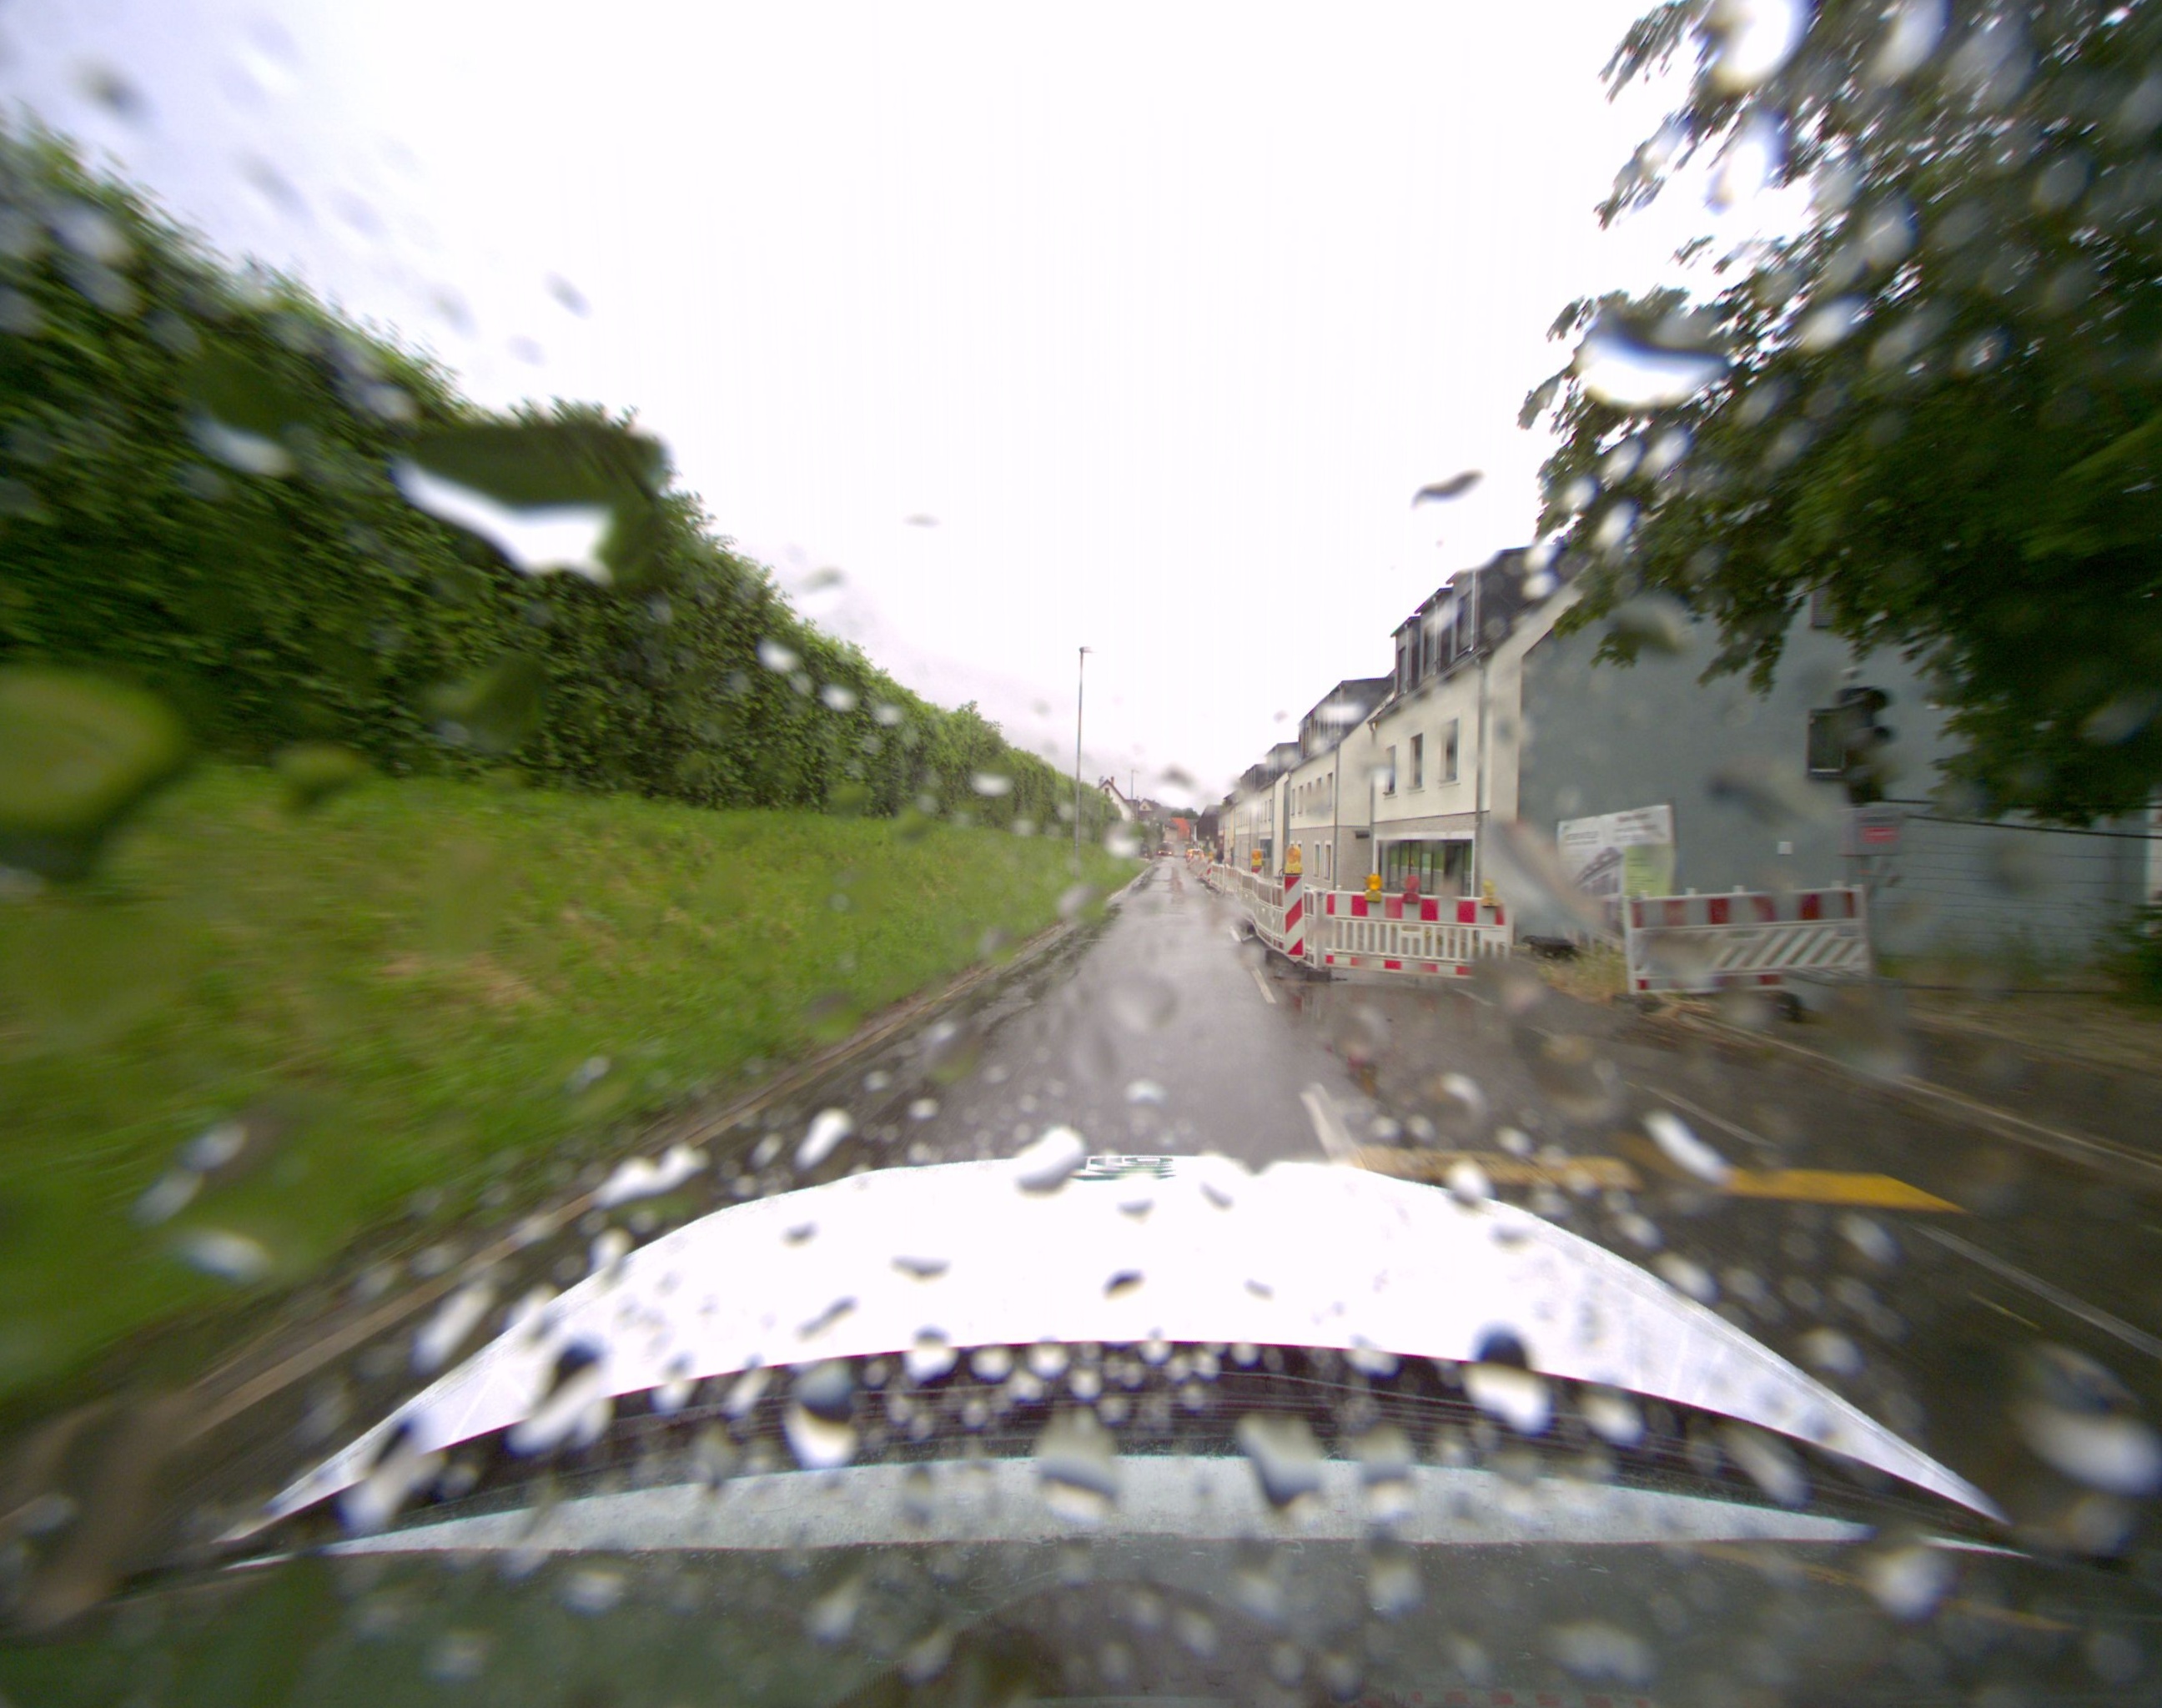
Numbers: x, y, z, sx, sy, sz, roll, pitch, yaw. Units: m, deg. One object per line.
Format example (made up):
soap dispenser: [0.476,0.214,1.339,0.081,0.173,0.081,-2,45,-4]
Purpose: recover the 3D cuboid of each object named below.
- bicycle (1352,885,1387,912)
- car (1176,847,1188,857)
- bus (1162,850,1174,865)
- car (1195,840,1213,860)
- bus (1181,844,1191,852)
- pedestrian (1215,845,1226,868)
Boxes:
bicycle: [8.743,1.326,24.733,0.494,0.697,1.741,-4,0,3]
car: [17.434,-0.385,140.658,1.809,1.642,4.103,-4,0,6]
bus: [18.357,0.744,171.681,2.229,3.103,7.047,2,0,8]
car: [15.862,-0.518,105.512,1.983,2.375,4.103,-4,0,6]
bus: [21.467,-1.244,166.516,1.784,1.409,4.009,3,0,8]
pedestrian: [11.301,0.206,65.994,0.662,1.755,0.813,-4,0,7]
